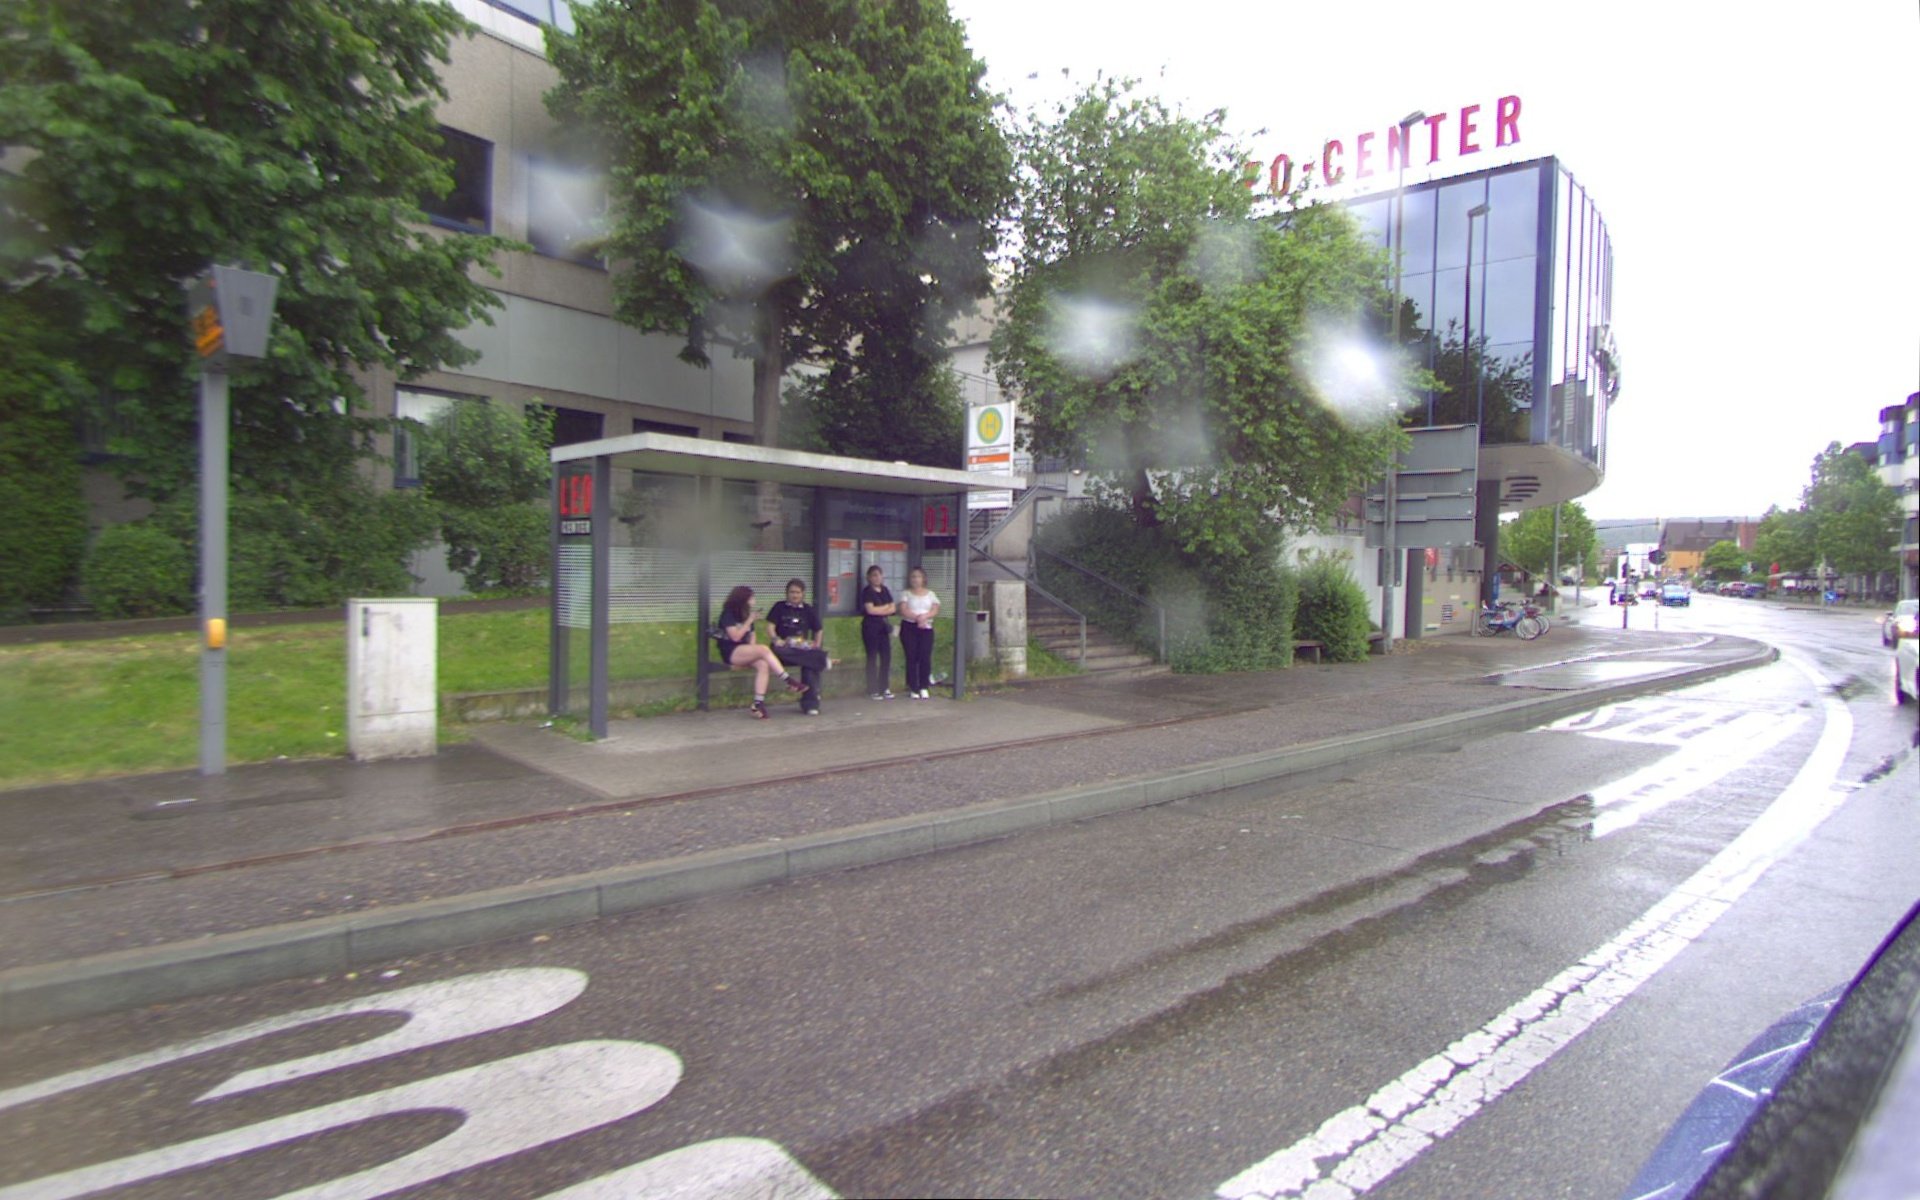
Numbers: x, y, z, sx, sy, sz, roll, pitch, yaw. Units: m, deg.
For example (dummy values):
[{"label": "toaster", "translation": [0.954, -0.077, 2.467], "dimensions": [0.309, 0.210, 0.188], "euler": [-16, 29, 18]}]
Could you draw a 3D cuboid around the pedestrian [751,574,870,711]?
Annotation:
[{"label": "pedestrian", "translation": [-1.560, 0.409, 10.521], "dimensions": [1.029, 1.297, 0.681], "euler": [5, 3, 42]}]

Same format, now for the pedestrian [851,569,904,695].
[{"label": "pedestrian", "translation": [-0.944, 0.358, 11.577], "dimensions": [0.532, 1.382, 0.412], "euler": [2, 2, -5]}]

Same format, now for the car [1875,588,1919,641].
[{"label": "car", "translation": [29.049, 0.431, 30.633], "dimensions": [3.773, 1.509, 1.631], "euler": [0, 1, -42]}]

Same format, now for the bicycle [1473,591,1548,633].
[{"label": "bicycle", "translation": [16.208, 0.341, 29.834], "dimensions": [1.800, 1.098, 0.674], "euler": [4, 3, 42]}]

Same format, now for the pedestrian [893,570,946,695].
[{"label": "pedestrian", "translation": [-0.474, 0.363, 11.650], "dimensions": [0.532, 1.382, 0.412], "euler": [2, 2, -4]}]

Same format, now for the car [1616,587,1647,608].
[{"label": "car", "translation": [52.119, -0.207, 78.608], "dimensions": [1.888, 1.545, 3.953], "euler": [1, 1, 33]}]

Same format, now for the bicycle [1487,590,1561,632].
[{"label": "bicycle", "translation": [16.956, 0.306, 30.467], "dimensions": [1.809, 1.124, 0.684], "euler": [4, 3, 42]}]

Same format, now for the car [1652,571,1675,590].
[{"label": "car", "translation": [63.005, -1.732, 90.644], "dimensions": [1.573, 1.660, 3.598], "euler": [1, 1, 33]}]

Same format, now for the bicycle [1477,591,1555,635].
[{"label": "bicycle", "translation": [16.056, 0.353, 29.254], "dimensions": [1.809, 1.124, 0.684], "euler": [4, 3, 42]}]

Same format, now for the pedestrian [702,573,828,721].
[{"label": "pedestrian", "translation": [-1.906, 0.420, 9.846], "dimensions": [1.029, 1.297, 0.681], "euler": [5, 3, 42]}]

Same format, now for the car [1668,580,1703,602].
[{"label": "car", "translation": [54.154, -0.686, 75.622], "dimensions": [1.888, 1.545, 3.953], "euler": [1, 1, 33]}]

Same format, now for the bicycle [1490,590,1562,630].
[{"label": "bicycle", "translation": [17.713, 0.297, 31.675], "dimensions": [1.829, 1.124, 0.684], "euler": [4, 3, 42]}]

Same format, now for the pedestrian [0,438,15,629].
[{"label": "pedestrian", "translation": [-9.556, -0.628, 9.641], "dimensions": [0.671, 1.819, 0.664], "euler": [1, 3, 39]}]
